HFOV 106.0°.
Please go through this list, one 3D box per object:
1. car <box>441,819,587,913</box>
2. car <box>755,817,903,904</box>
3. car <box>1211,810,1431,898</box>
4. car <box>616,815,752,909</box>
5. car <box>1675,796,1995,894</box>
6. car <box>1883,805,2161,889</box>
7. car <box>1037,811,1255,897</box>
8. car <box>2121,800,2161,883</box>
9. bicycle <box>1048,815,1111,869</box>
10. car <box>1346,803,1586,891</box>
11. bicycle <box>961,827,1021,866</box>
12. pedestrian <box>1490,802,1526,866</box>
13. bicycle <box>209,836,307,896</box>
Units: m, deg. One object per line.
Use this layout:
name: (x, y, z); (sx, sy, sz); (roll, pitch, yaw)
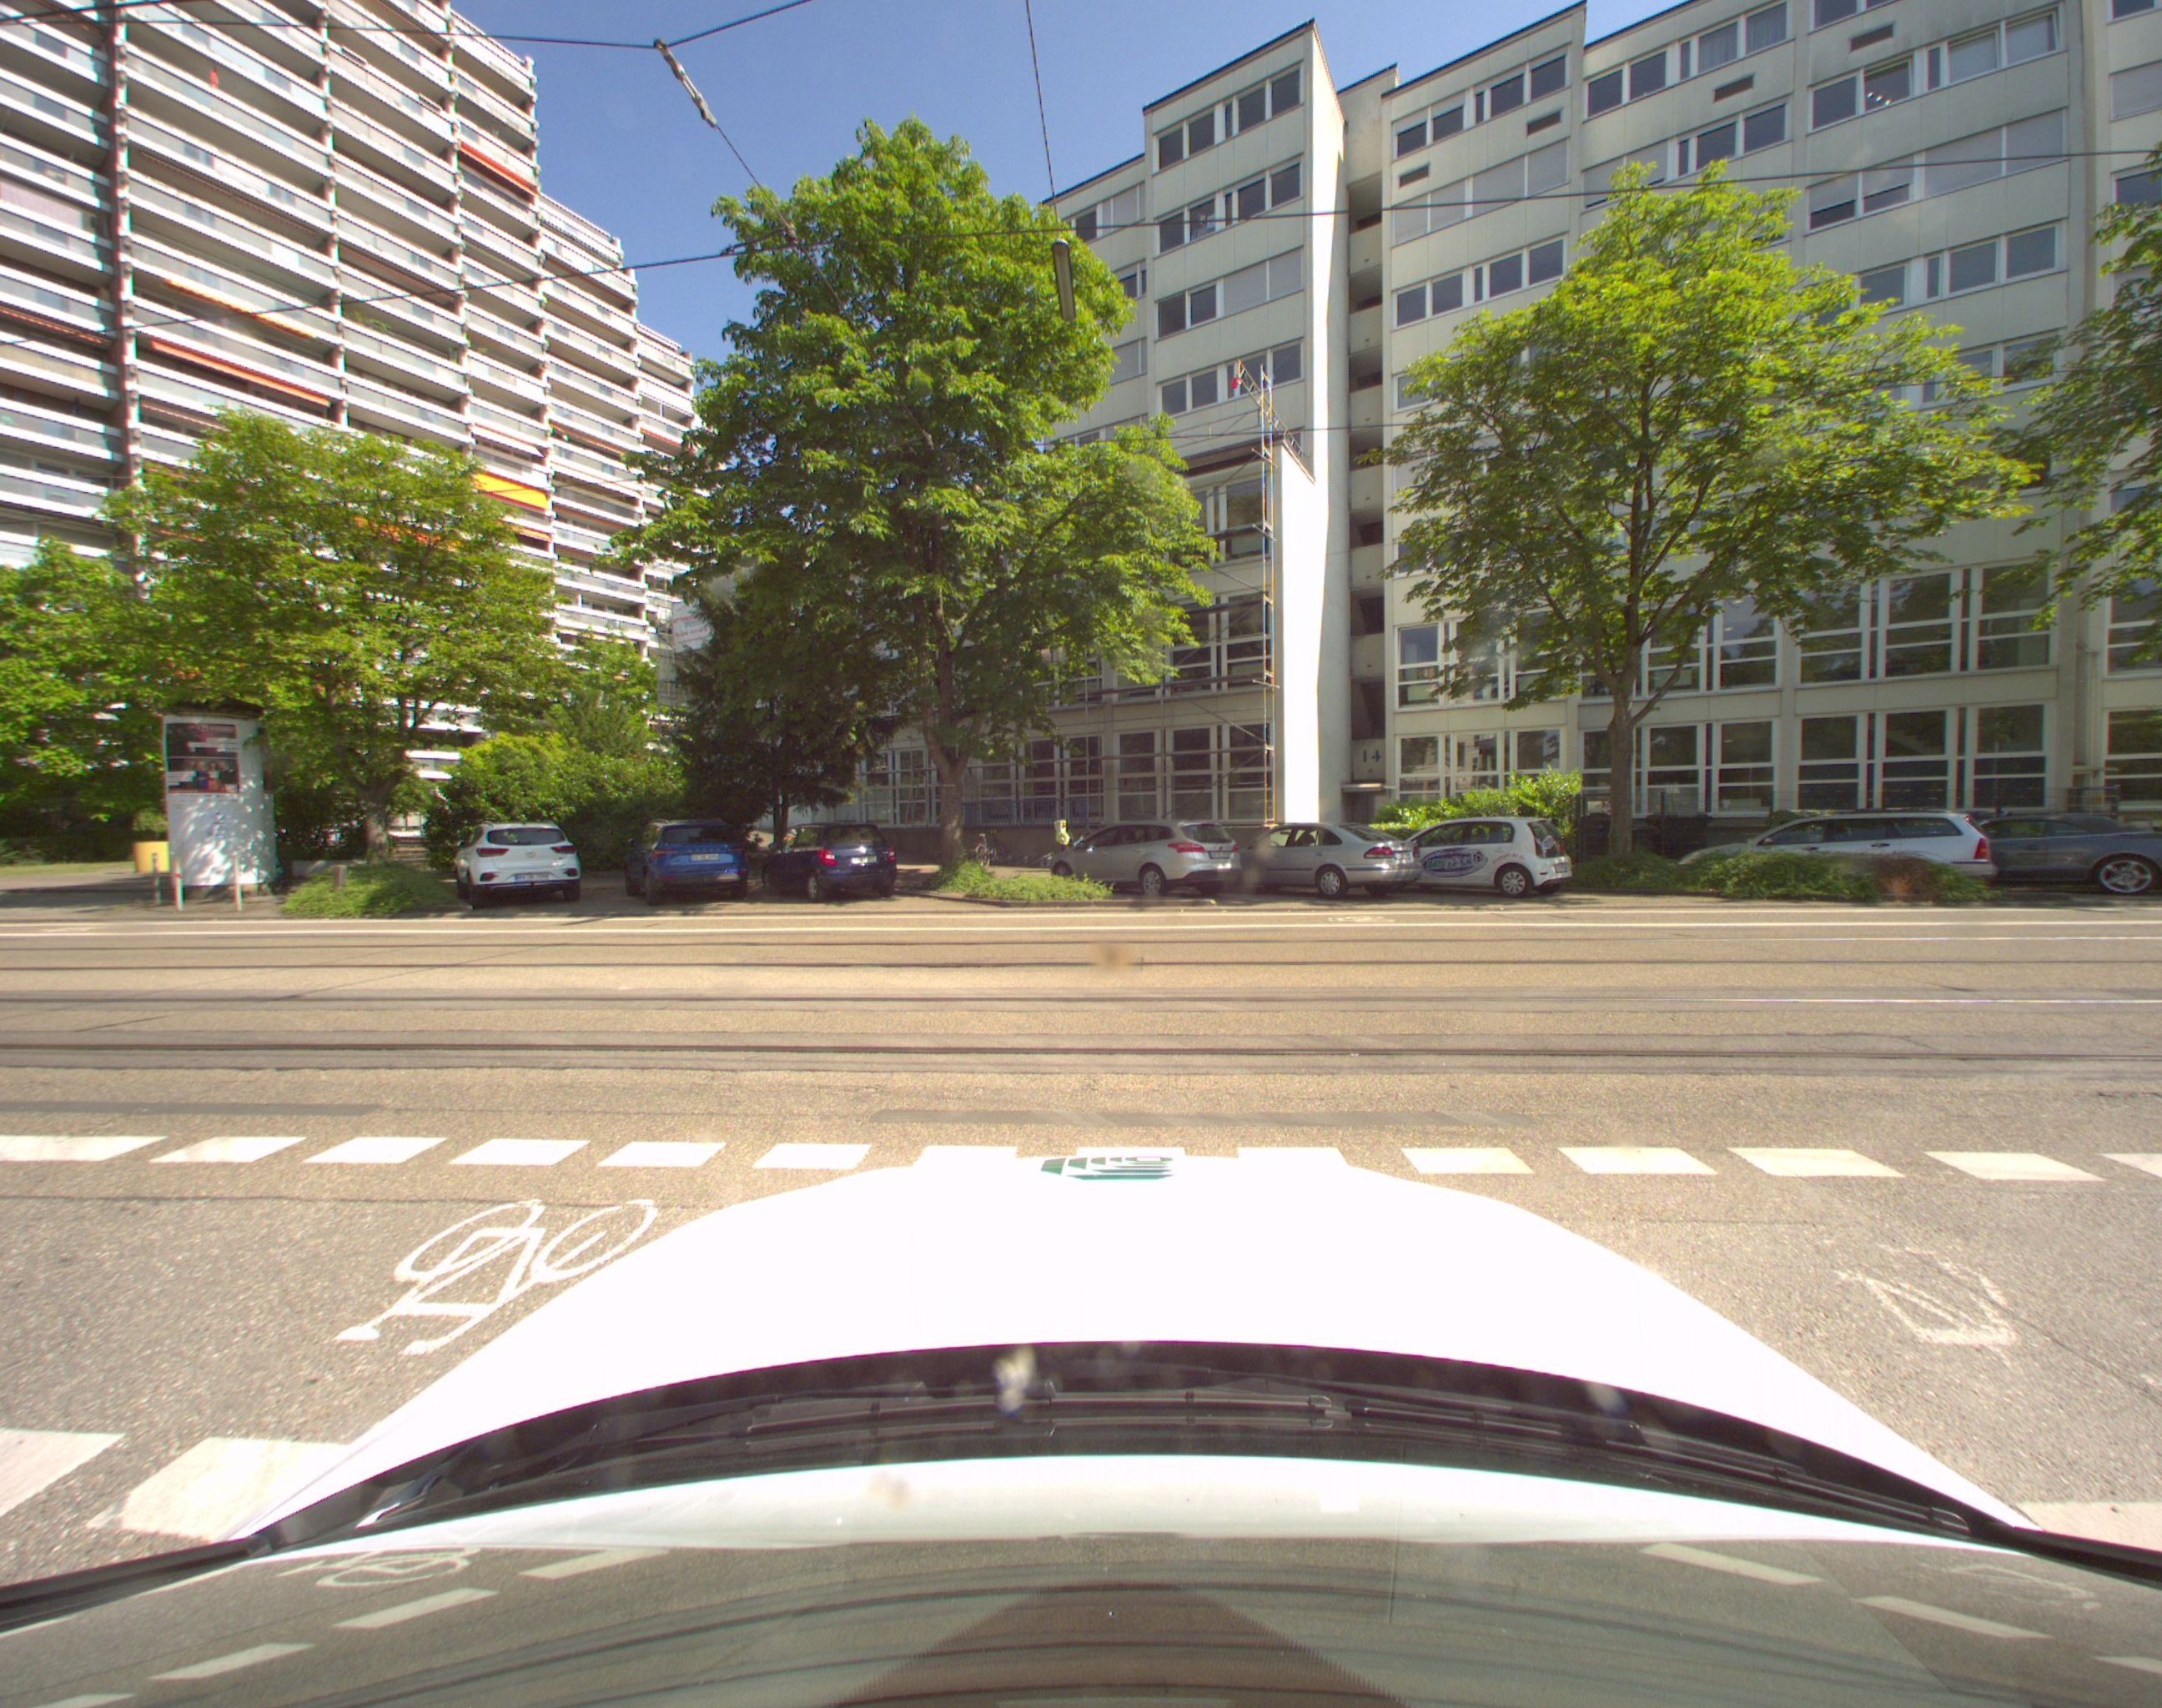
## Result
car: (-11.674, 0.164, 16.668); (1.830, 1.605, 3.898); (-6, 5, -42)
car: (-5.164, 0.071, 16.447); (1.585, 1.530, 3.418); (-3, 3, -41)
car: (4.547, -0.049, 15.885); (1.621, 1.485, 3.900); (-3, 3, -38)
car: (-8.214, 0.045, 16.671); (1.789, 1.622, 3.903); (-4, 5, -36)
car: (14.036, -0.192, 15.418); (1.567, 1.604, 4.292); (-2, 2, -43)
car: (17.396, -0.158, 14.813); (1.567, 1.357, 3.899); (-3, 3, -41)
car: (1.169, -0.059, 16.473); (1.794, 1.485, 4.383); (-3, 3, -41)
car: (21.052, -0.236, 13.946); (1.567, 1.485, 3.899); (-3, 3, -41)
bicycle: (-0.025, -0.368, 23.096); (0.655, 1.453, 2.104); (0, 3, 36)
car: (7.372, -0.143, 15.906); (1.621, 1.486, 3.899); (-3, 2, -39)
bicycle: (-2.650, -0.242, 24.224); (0.734, 1.085, 2.216); (-1, 2, 23)
pedestrian: (10.019, -0.474, 19.115); (0.616, 1.460, 0.425); (-1, 2, 8)
bicycle: (-19.052, 0.269, 18.876); (1.611, 1.308, 0.547); (-1, 2, -1)
